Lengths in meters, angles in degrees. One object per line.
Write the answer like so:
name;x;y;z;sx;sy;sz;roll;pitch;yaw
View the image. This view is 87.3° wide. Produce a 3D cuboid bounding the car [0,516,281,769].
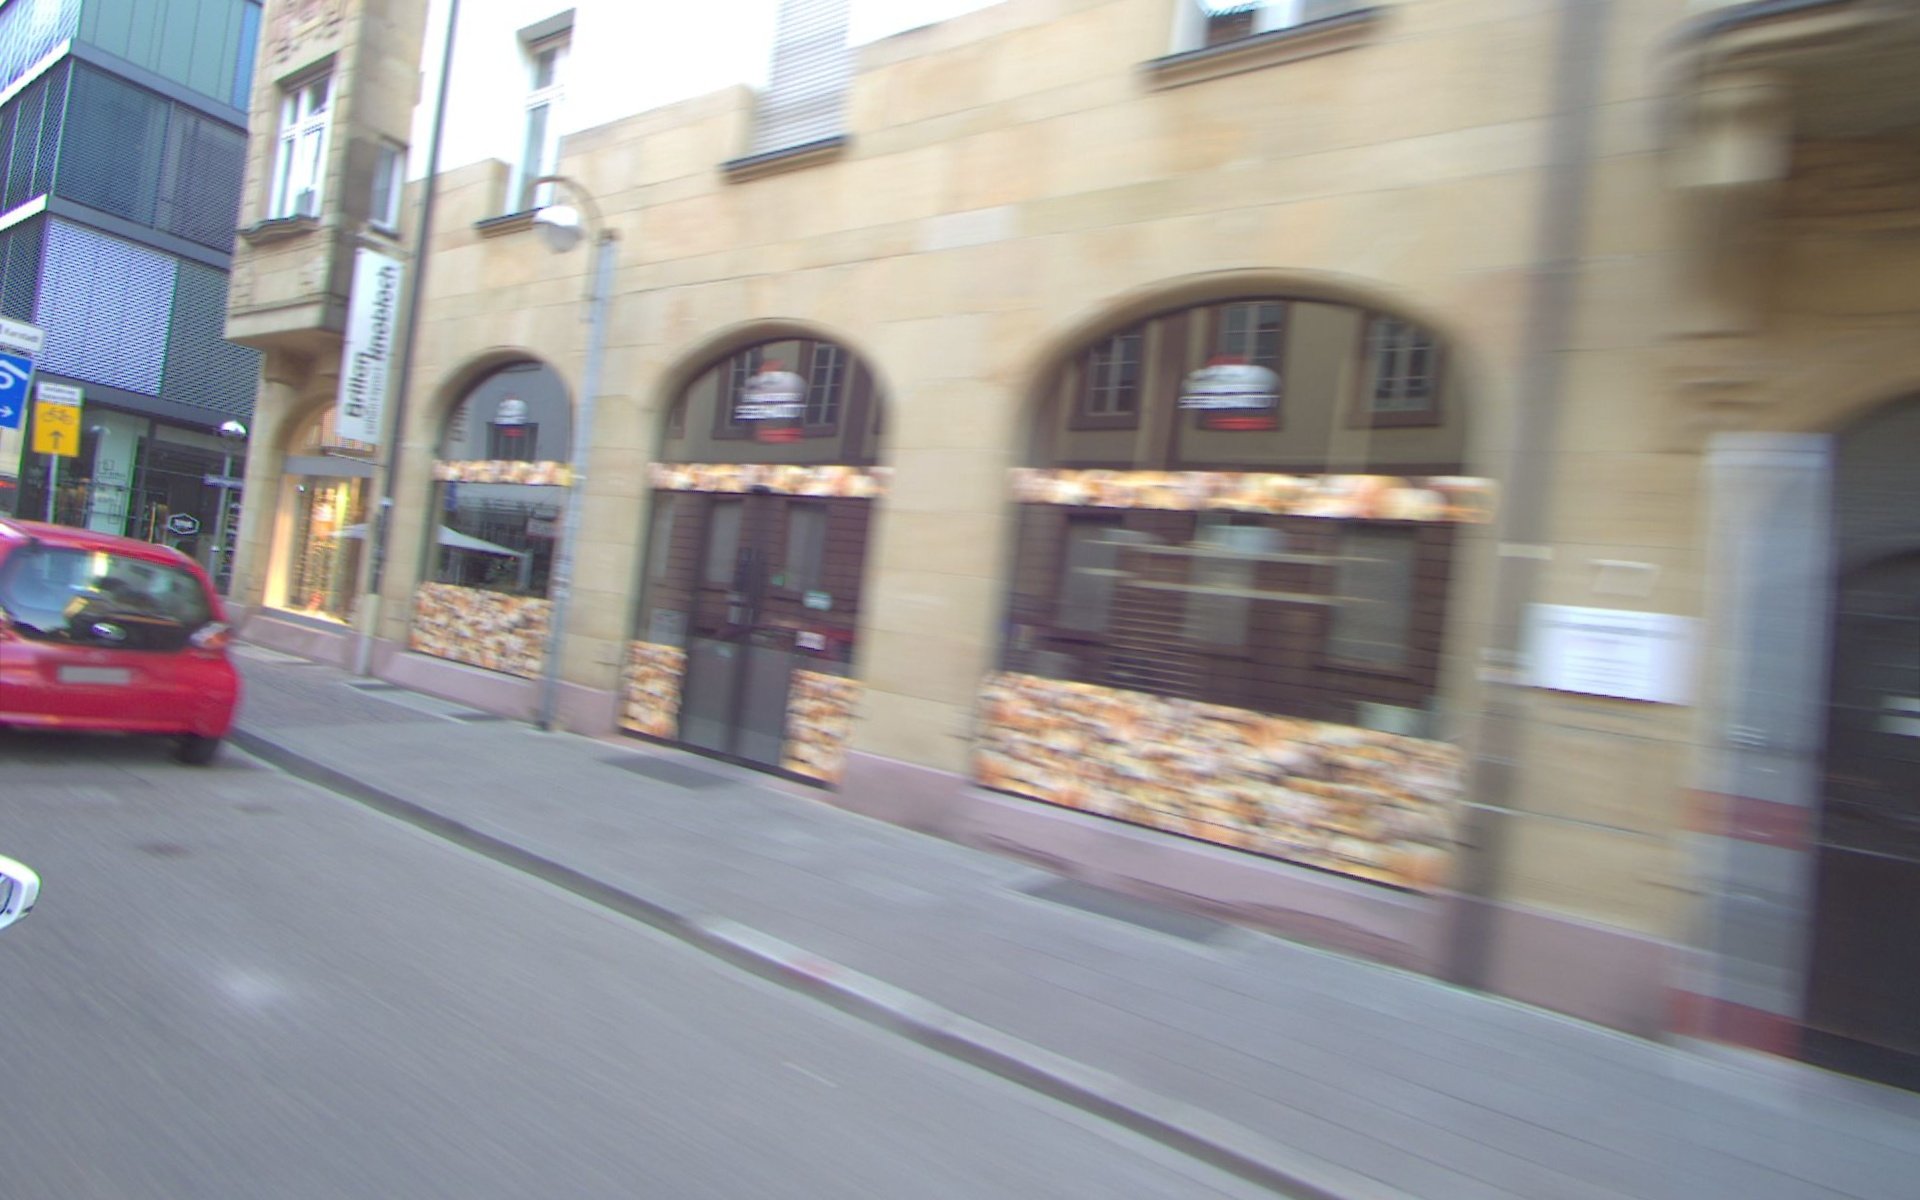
car;-6.697;0.183;7.326;3.481;1.442;1.653;6;-5;36
